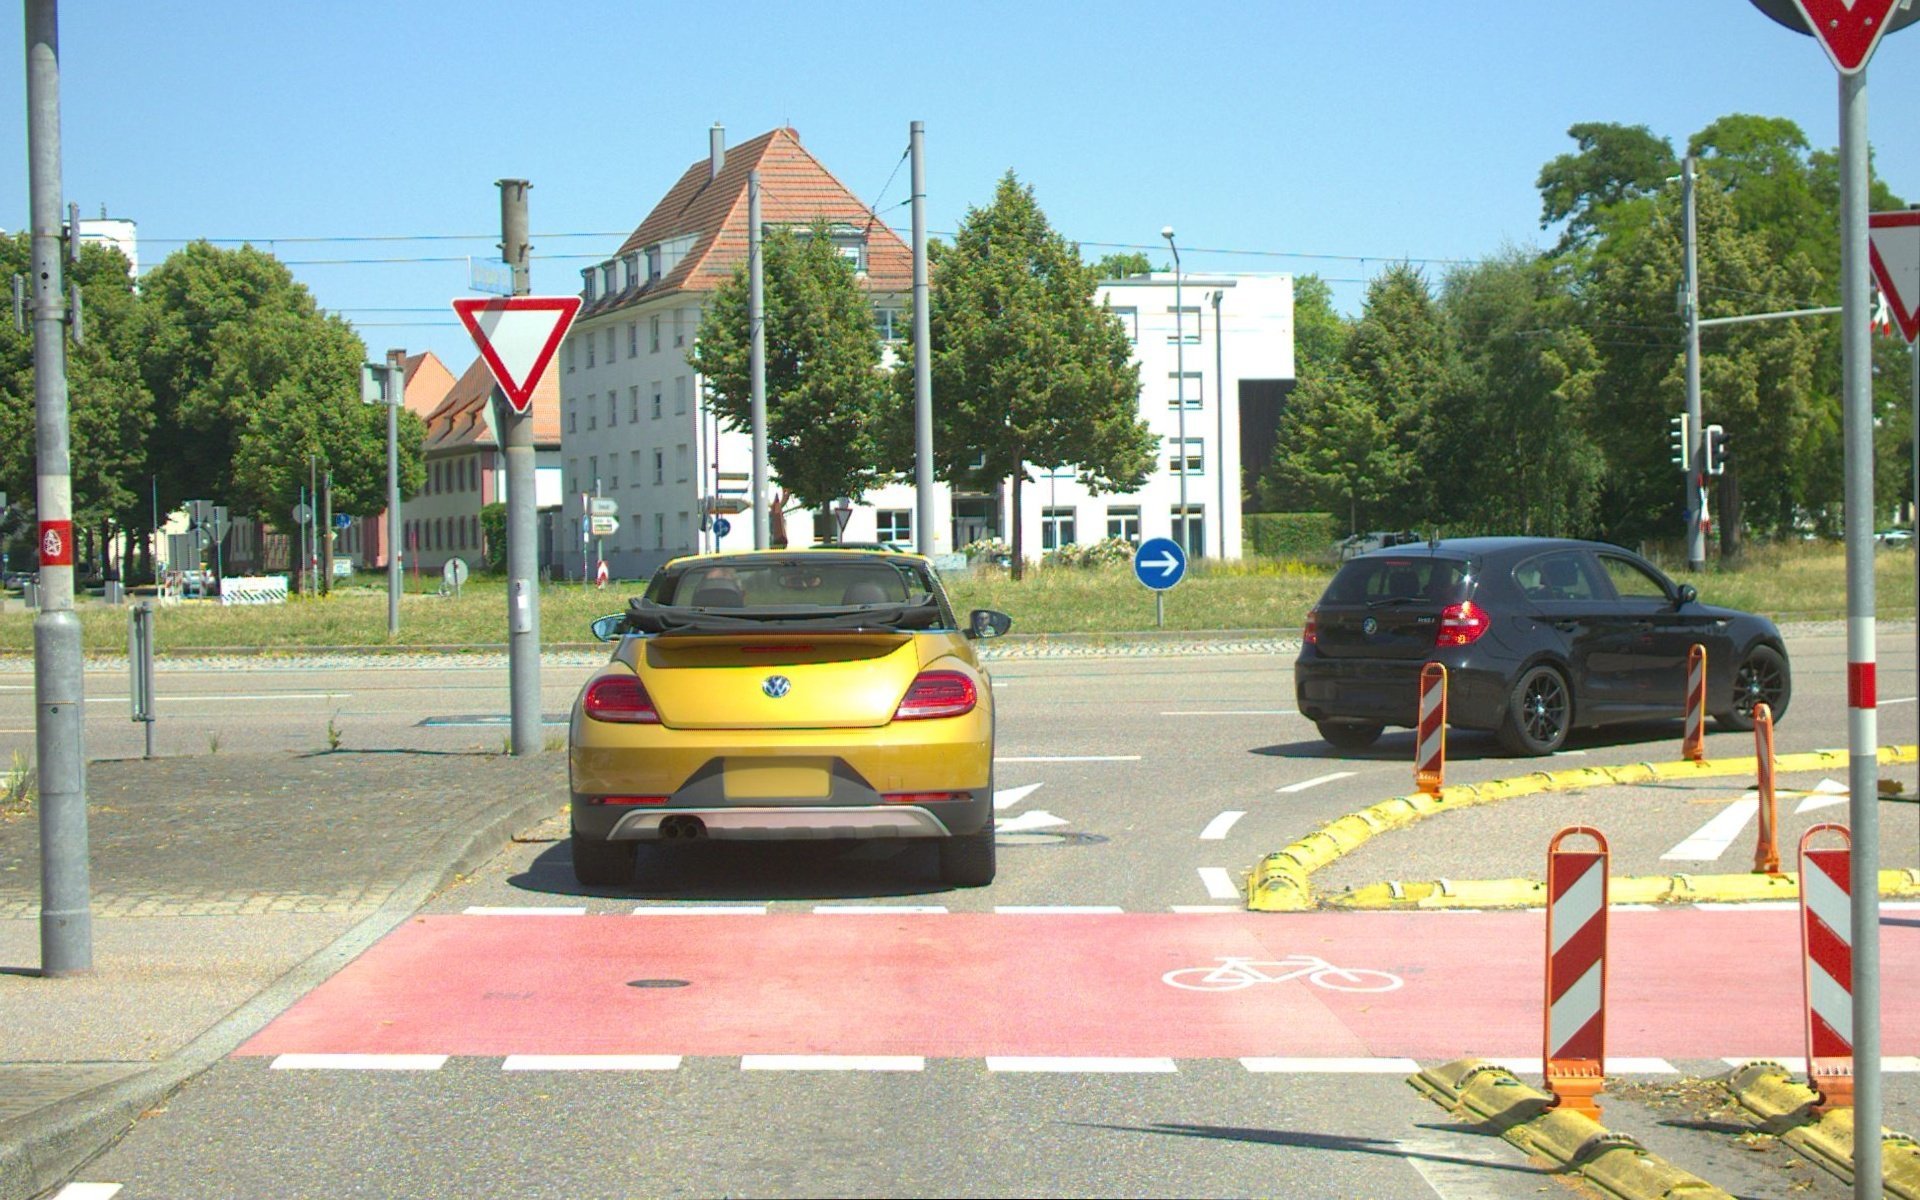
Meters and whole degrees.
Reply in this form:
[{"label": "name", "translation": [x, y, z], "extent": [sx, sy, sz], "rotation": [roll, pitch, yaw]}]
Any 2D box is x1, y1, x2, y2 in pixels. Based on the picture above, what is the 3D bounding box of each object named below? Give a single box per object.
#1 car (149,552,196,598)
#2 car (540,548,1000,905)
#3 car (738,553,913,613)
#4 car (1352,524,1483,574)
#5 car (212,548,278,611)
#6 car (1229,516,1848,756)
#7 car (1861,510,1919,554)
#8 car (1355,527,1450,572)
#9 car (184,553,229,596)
[{"label": "car", "translation": [-34.913, -1.098, 152.415], "extent": [1.993, 2.007, 4.001], "rotation": [0, 0, -13]}, {"label": "car", "translation": [-0.782, 0.477, 15.514], "extent": [1.825, 1.398, 3.662], "rotation": [0, 1, -1]}, {"label": "car", "translation": [-3.319, -0.427, 85.259], "extent": [3.988, 1.459, 1.999], "rotation": [0, 0, 9]}, {"label": "car", "translation": [15.683, -1.730, 117.901], "extent": [3.986, 1.678, 2.001], "rotation": [0, 0, -13]}, {"label": "car", "translation": [-23.297, -0.681, 111.951], "extent": [1.993, 2.007, 4.001], "rotation": [0, 0, -13]}, {"label": "car", "translation": [3.969, 0.180, 23.374], "extent": [3.987, 1.435, 1.803], "rotation": [-2, 2, -34]}, {"label": "car", "translation": [35.245, -2.479, 125.730], "extent": [3.995, 1.568, 1.996], "rotation": [1, 1, 35]}, {"label": "car", "translation": [19.977, -2.278, 155.174], "extent": [3.989, 2.007, 1.999], "rotation": [0, 0, 14]}, {"label": "car", "translation": [-35.997, -1.207, 164.226], "extent": [1.993, 2.007, 4.001], "rotation": [0, 0, -13]}]
